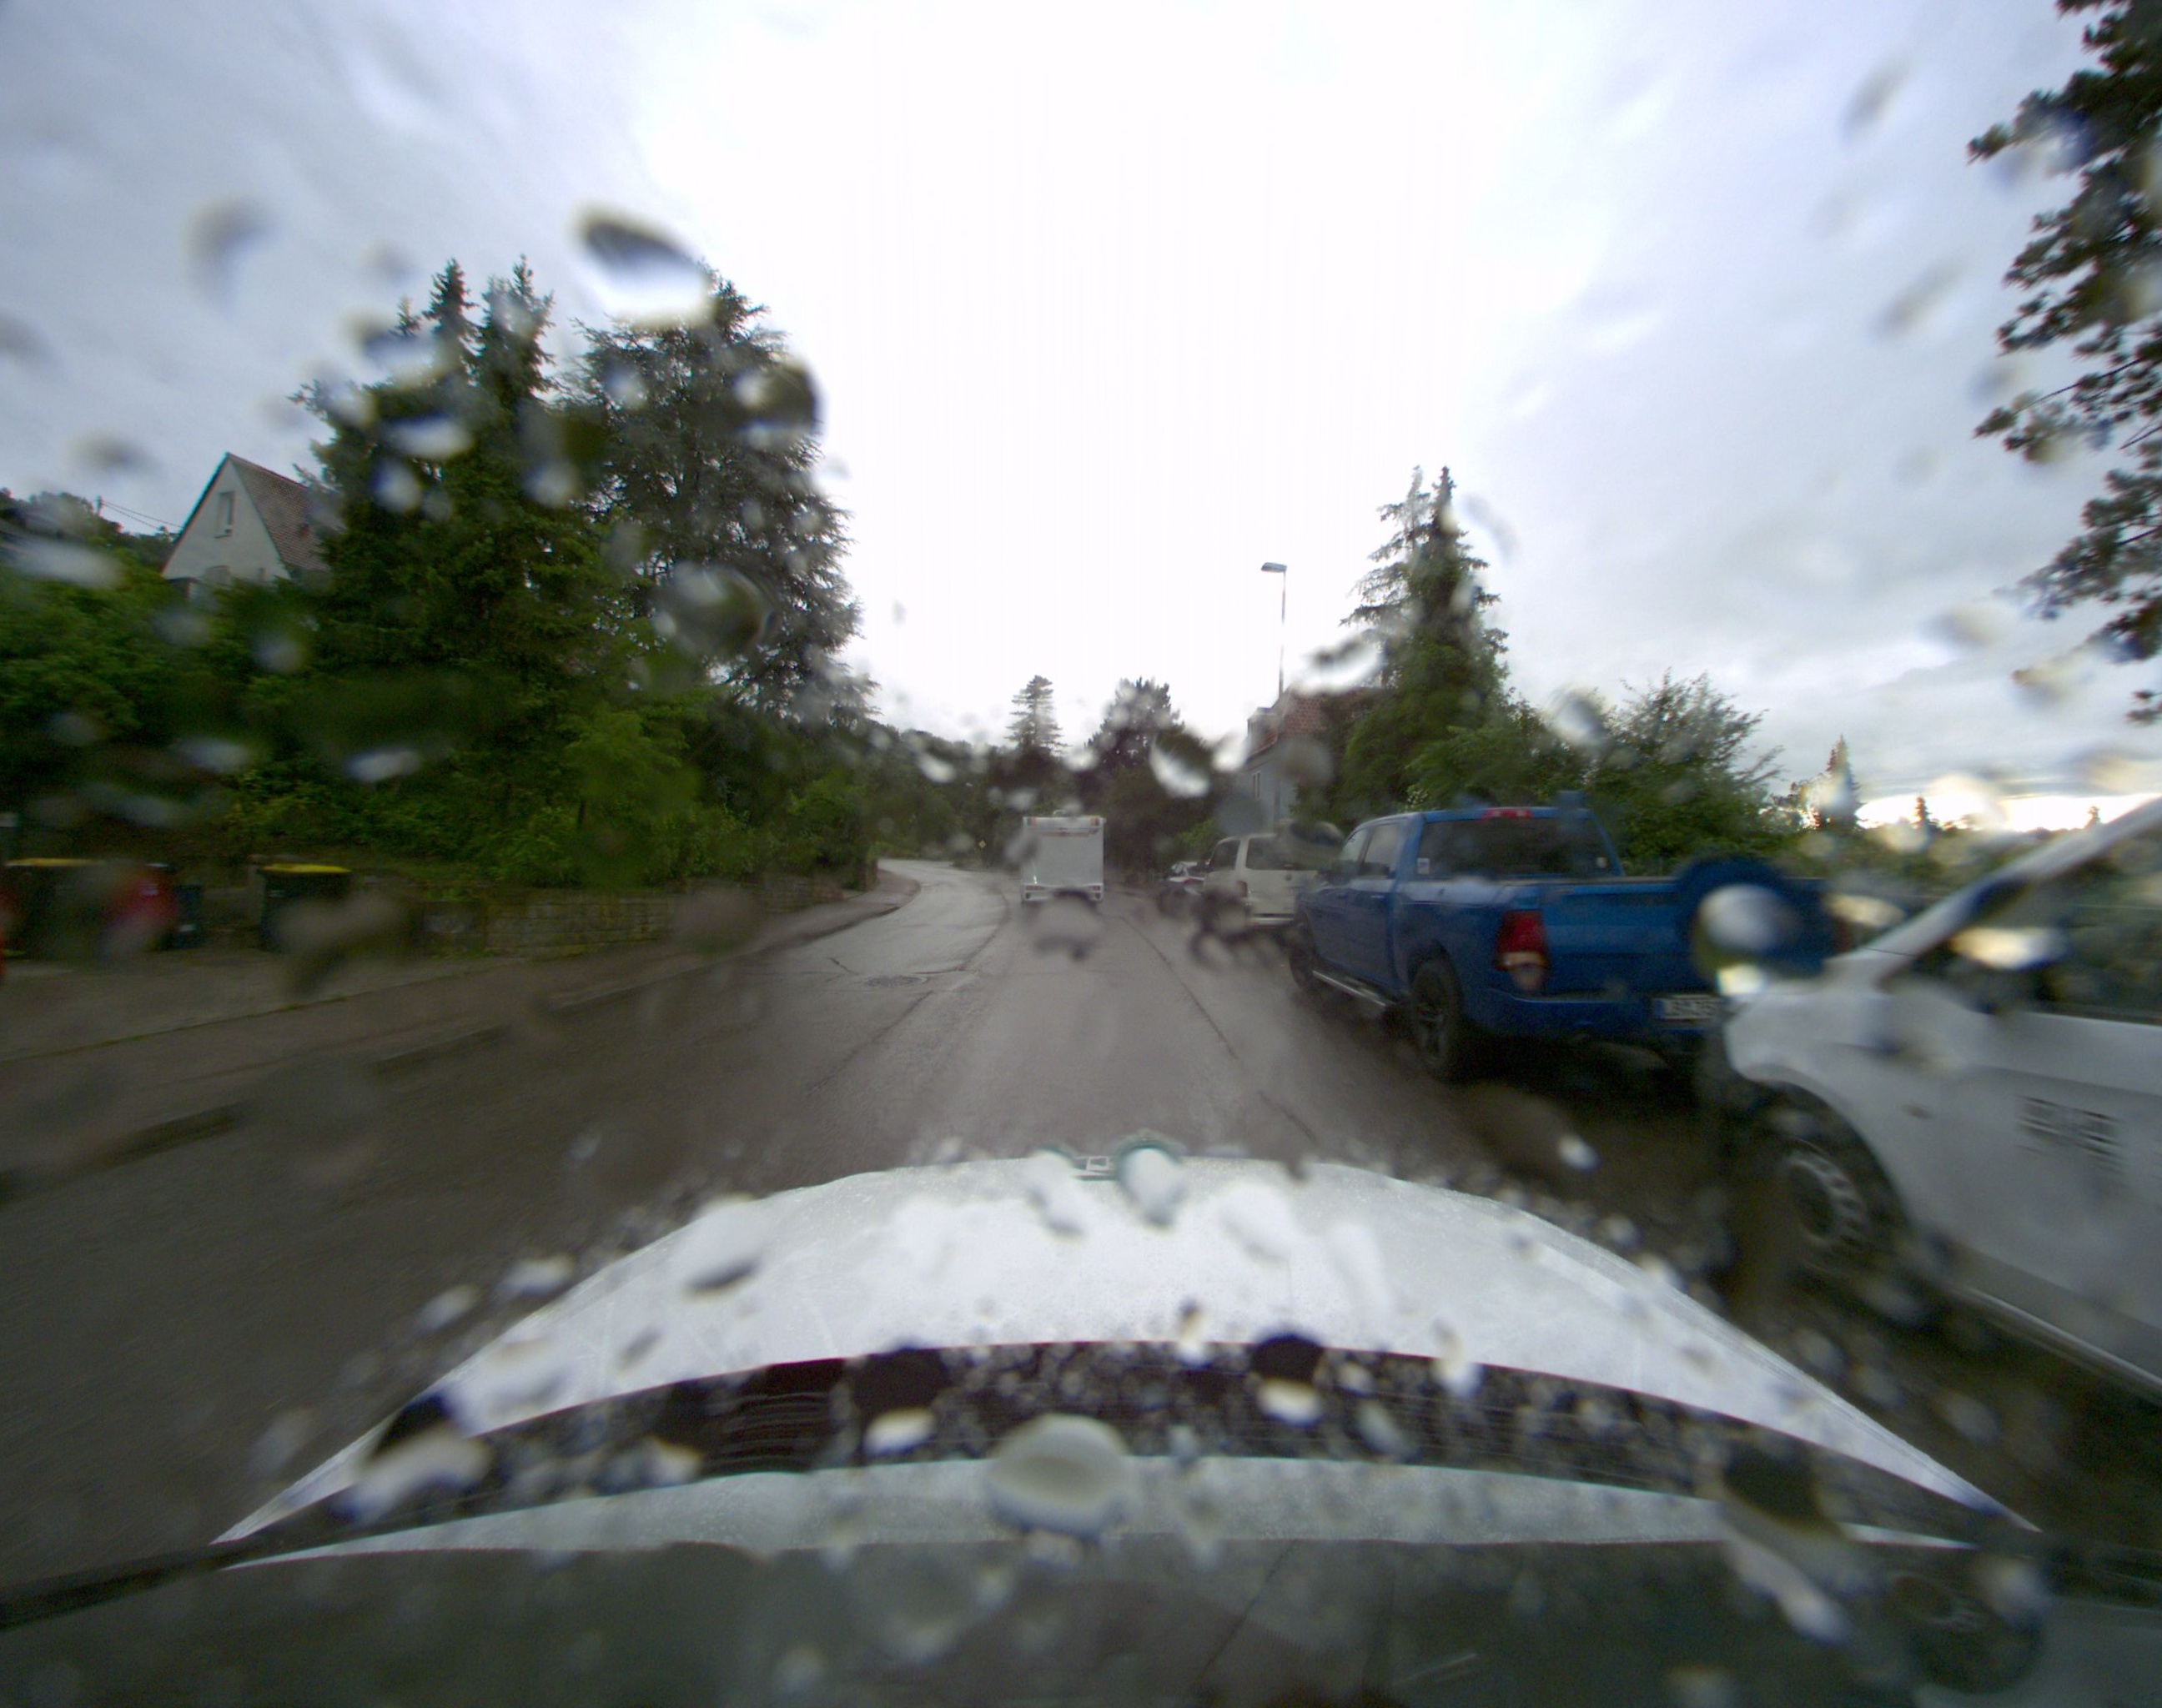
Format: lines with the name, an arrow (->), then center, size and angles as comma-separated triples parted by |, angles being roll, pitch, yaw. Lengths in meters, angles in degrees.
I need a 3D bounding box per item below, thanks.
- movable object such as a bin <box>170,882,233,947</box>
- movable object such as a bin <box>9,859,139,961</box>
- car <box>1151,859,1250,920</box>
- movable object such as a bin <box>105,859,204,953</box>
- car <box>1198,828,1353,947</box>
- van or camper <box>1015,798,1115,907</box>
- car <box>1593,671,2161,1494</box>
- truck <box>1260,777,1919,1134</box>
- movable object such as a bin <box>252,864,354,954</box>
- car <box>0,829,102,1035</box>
movable object such as a bin -> -10.866, 0.739, 10.064 | 0.386, 0.767, 0.368 | 1, 0, 12
movable object such as a bin -> -11.011, 0.589, 8.920 | 0.573, 1.056, 0.685 | 1, 0, 13
car -> 3.117, 0.885, 22.063 | 1.683, 1.457, 4.049 | 1, 0, -6
movable object such as a bin -> -10.886, 0.592, 9.579 | 0.573, 1.056, 0.523 | 1, 0, 12
car -> 3.584, 0.551, 15.984 | 1.854, 1.921, 5.079 | 1, 0, 1
van or camper -> -0.650, 0.039, 24.867 | 2.611, 2.853, 6.020 | 1, -2, -5
car -> 3.300, 0.499, 1.259 | 1.820, 1.842, 5.272 | -1, 0, 2
truck -> 3.464, 0.544, 7.679 | 2.107, 1.852, 6.618 | 2, 0, 0
movable object such as a bin -> -9.703, 0.661, 10.172 | 0.573, 1.056, 0.685 | 1, 0, 13
car -> -8.627, 0.511, 4.056 | 1.768, 1.437, 4.589 | 5, 0, 1
